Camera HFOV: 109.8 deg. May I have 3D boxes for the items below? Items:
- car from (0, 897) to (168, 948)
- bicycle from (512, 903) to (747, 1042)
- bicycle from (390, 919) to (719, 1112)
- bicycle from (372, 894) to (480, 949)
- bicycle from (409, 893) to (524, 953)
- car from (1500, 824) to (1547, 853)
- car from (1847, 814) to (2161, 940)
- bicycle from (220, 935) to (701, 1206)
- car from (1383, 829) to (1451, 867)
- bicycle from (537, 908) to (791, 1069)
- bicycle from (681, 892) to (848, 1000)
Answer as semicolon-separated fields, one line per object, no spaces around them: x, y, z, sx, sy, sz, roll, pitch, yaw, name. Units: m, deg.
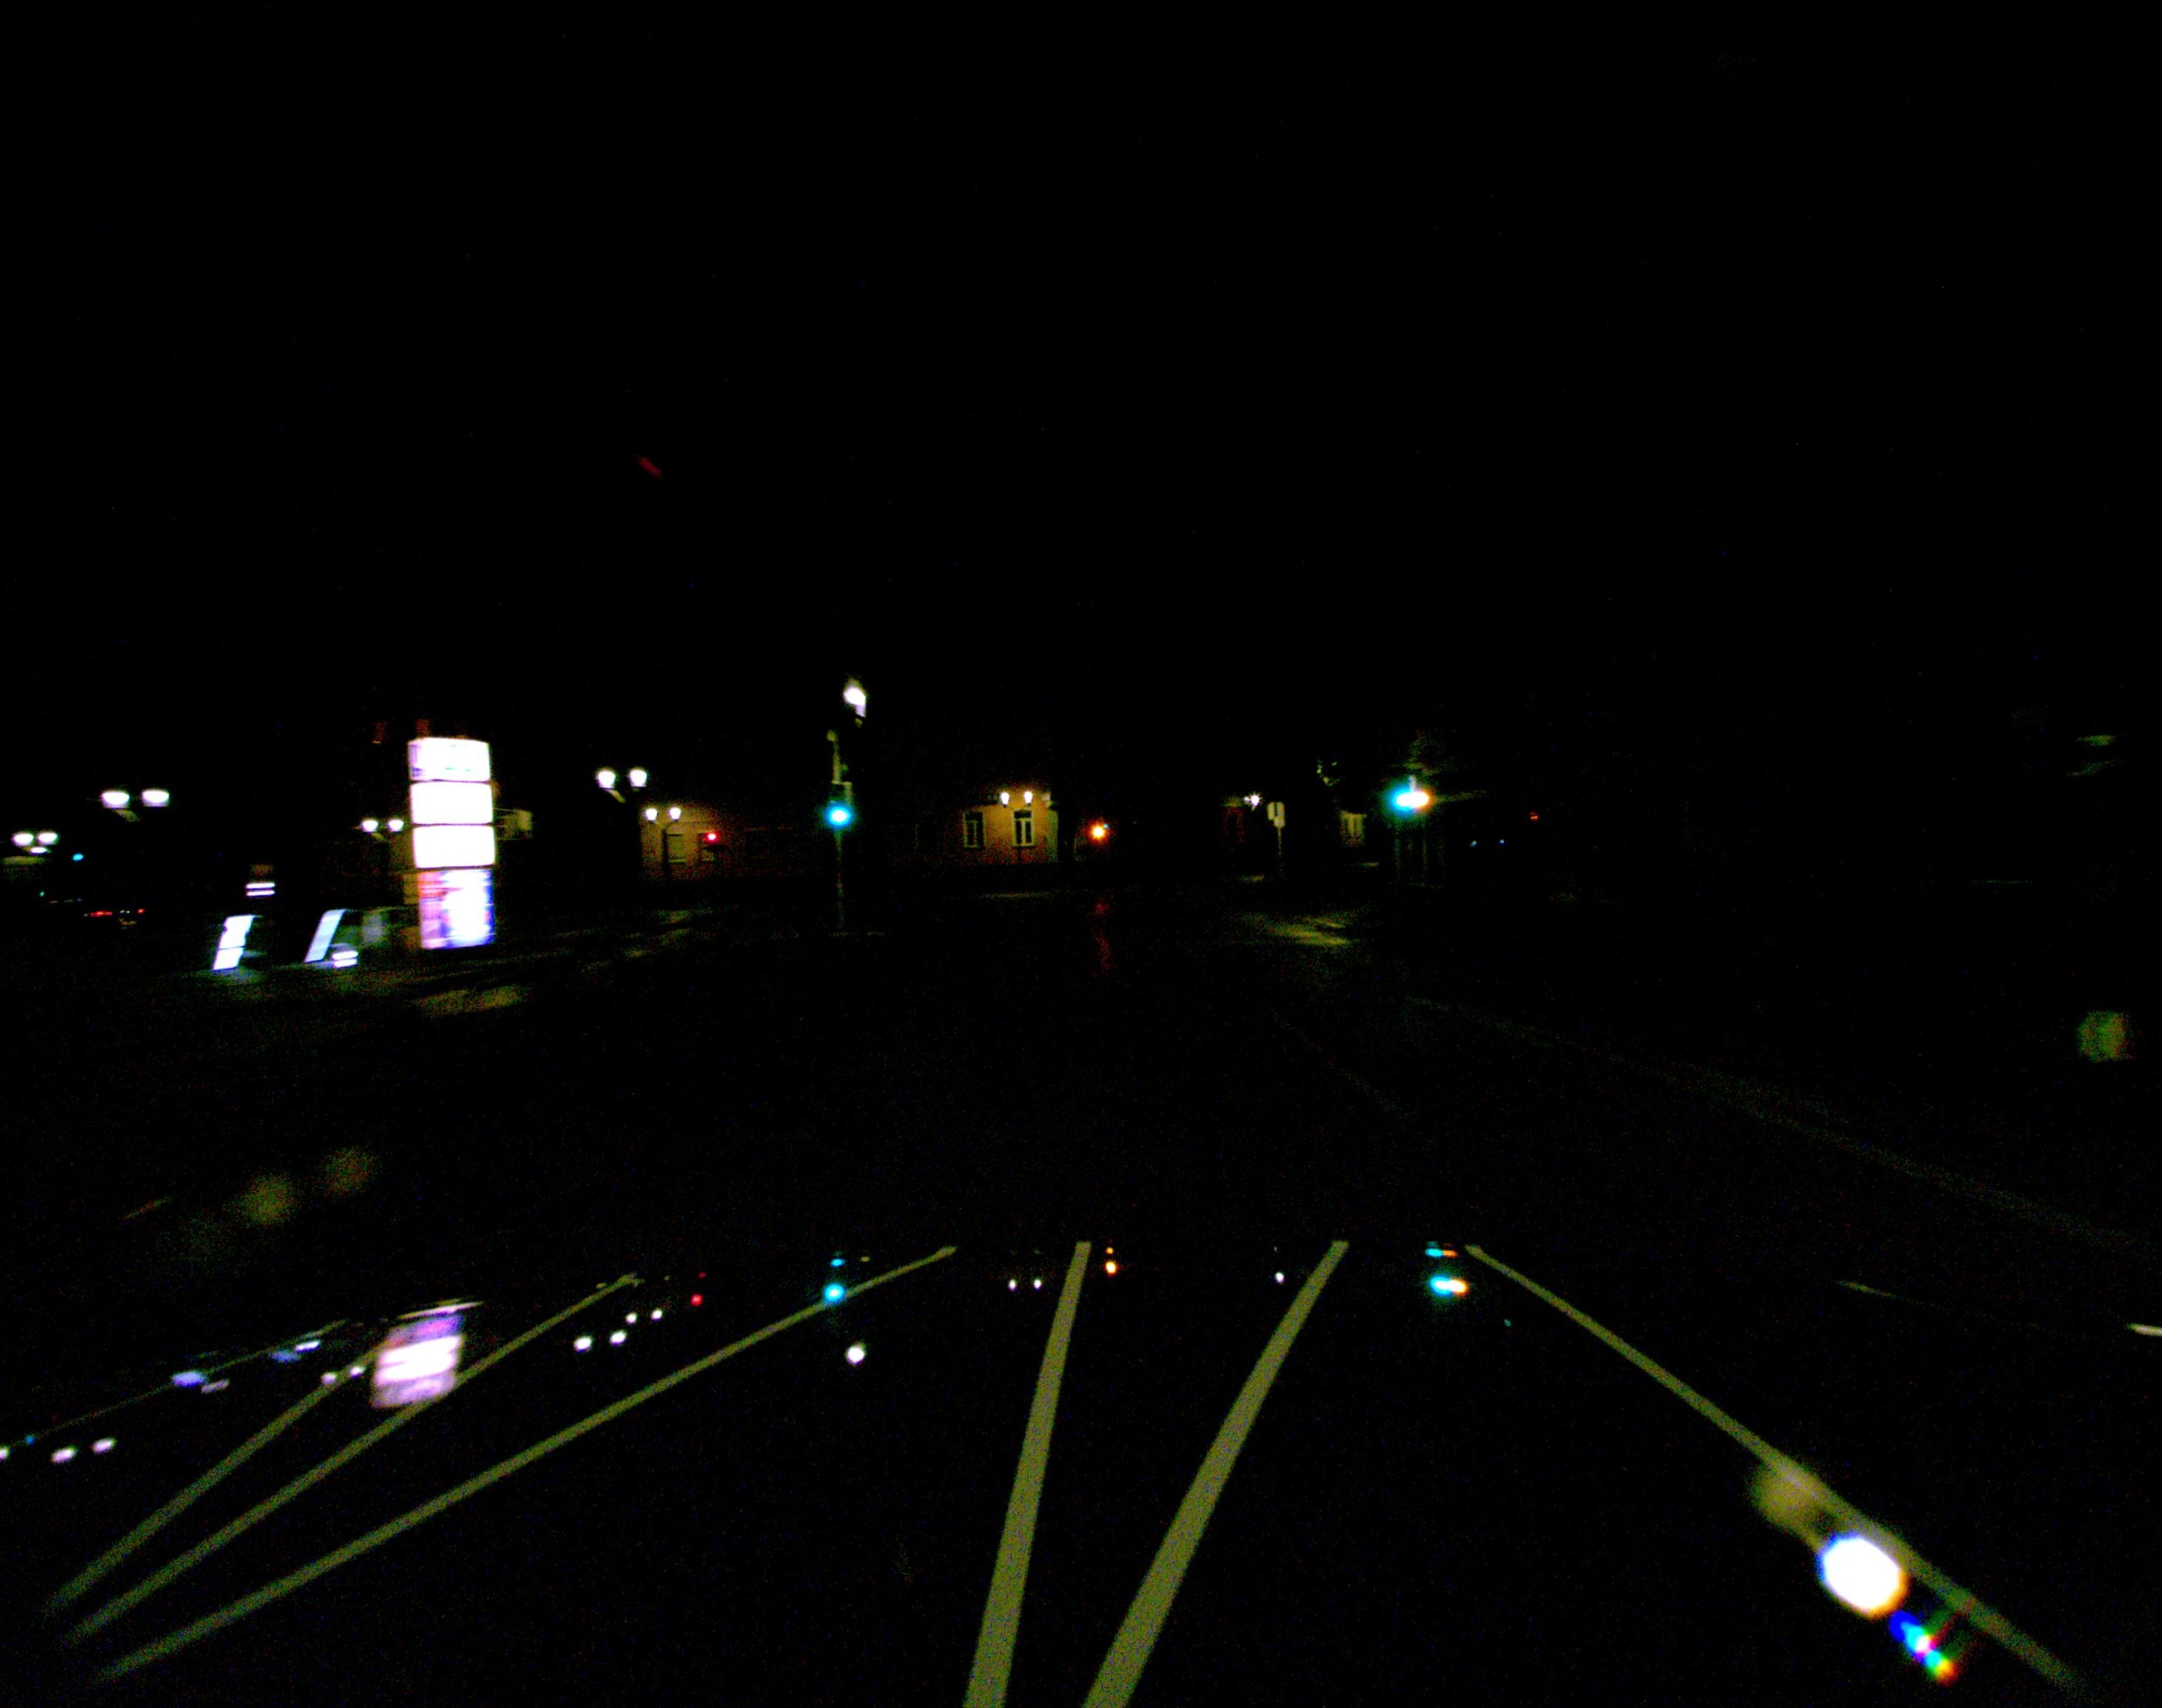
-37.993;2.574;28.737;4.242;1.576;1.740;-3;1;-10;car
-4.278;1.106;7.306;1.774;1.134;0.687;-3;1;-3;bicycle
-3.649;1.099;5.395;1.793;1.128;0.629;-3;1;-5;bicycle
-15.673;1.590;18.225;0.648;1.121;1.806;-2;1;37;bicycle
-13.505;1.488;16.743;0.648;1.121;1.806;-2;1;37;bicycle
30.827;-1.098;52.876;1.924;1.897;4.185;-2;1;42;car
13.748;0.265;10.762;3.997;1.517;1.819;-3;0;-2;car
-3.191;1.085;4.082;1.870;1.128;0.725;-3;1;-5;bicycle
17.245;-0.324;38.882;1.924;1.740;4.185;-2;1;42;car
-3.361;1.067;6.241;1.659;1.128;0.642;-3;1;-3;bicycle
-3.821;1.096;9.297;1.660;1.134;0.827;-3;1;-3;bicycle
